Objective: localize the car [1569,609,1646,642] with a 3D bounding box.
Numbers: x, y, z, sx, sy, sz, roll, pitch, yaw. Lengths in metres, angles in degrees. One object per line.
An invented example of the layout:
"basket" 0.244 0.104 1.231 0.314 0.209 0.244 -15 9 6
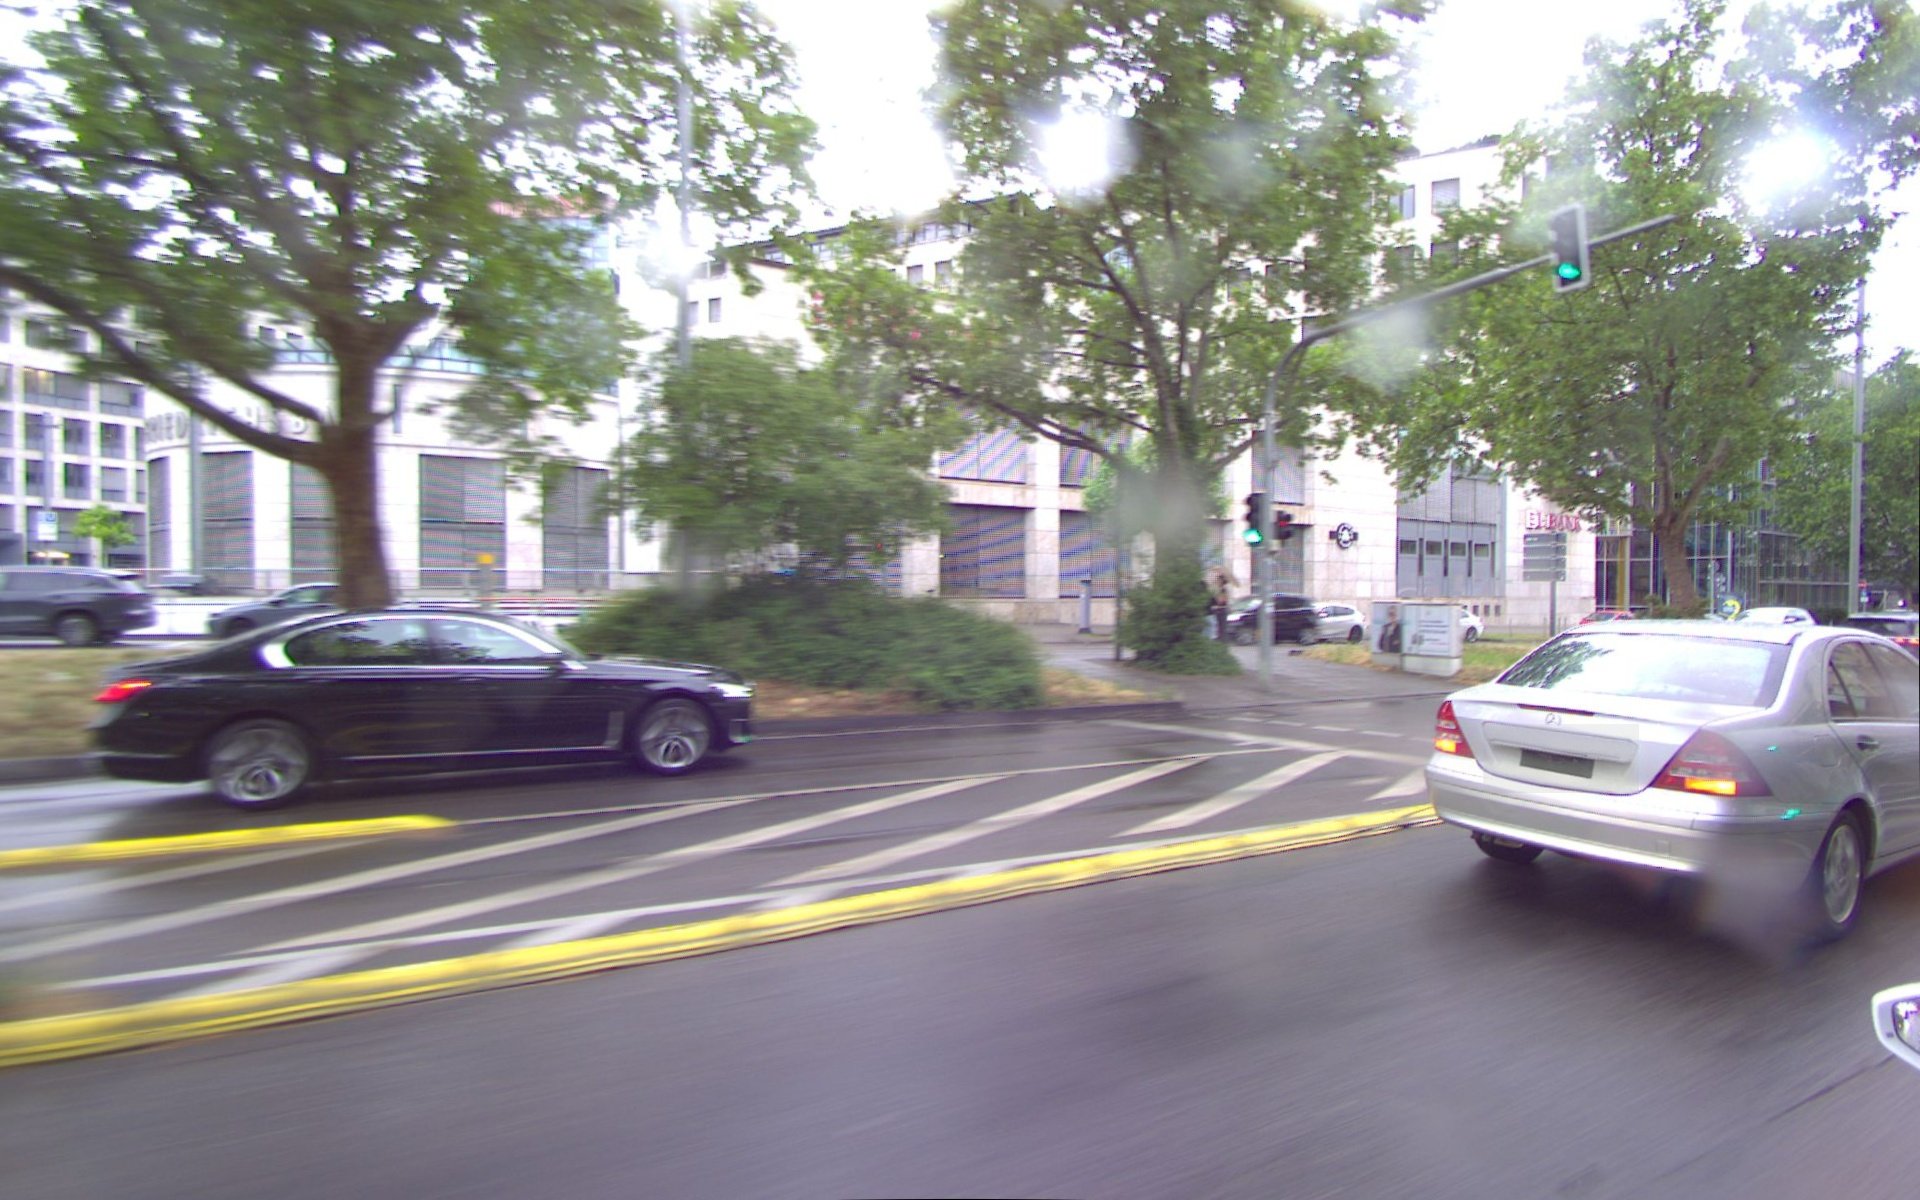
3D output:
"car" 30.424 1.194 47.157 3.358 1.434 1.586 2 0 -28

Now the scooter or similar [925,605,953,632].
"scooter or similar" -0.784 0.675 37.555 0.345 0.931 1.408 0 2 -33

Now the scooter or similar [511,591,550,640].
"scooter or similar" -11.176 0.386 26.173 0.571 1.202 1.427 1 2 -9

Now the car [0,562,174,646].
"car" -19.890 0.065 21.324 4.664 1.673 1.987 2 0 -26

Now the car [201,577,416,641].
"car" -15.358 0.224 23.944 3.985 1.400 1.837 2 0 -23

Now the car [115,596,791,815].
"car" -4.107 0.778 8.890 4.814 1.499 1.866 1 0 -27

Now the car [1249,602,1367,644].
"car" 13.054 0.858 37.618 4.239 1.434 1.740 2 0 -28

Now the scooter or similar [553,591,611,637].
"scooter or similar" -10.107 0.356 26.827 1.582 1.141 0.442 3 2 24

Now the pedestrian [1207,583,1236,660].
"pedestrian" 5.653 0.453 21.671 0.440 1.636 0.641 2 2 28

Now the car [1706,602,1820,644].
"car" 28.626 0.841 35.796 4.080 1.383 1.740 2 0 -29

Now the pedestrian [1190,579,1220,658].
"pedestrian" 5.211 0.385 21.341 0.544 1.636 0.425 1 2 18

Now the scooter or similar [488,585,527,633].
"scooter or similar" -12.041 0.226 26.781 0.571 1.202 1.427 1 2 -9

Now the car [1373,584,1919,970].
"car" 4.509 0.730 5.819 4.311 1.499 1.663 1 1 -32

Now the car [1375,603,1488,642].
"car" 19.245 0.919 40.966 4.646 1.434 1.740 2 0 -28

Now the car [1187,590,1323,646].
"car" 9.636 0.588 32.761 4.238 1.695 1.731 2 0 -27

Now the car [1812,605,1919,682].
"car" 21.490 0.947 23.555 3.971 1.600 1.795 0 1 -43

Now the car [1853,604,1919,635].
"car" 52.605 1.100 57.034 4.048 1.661 1.820 2 0 -33
